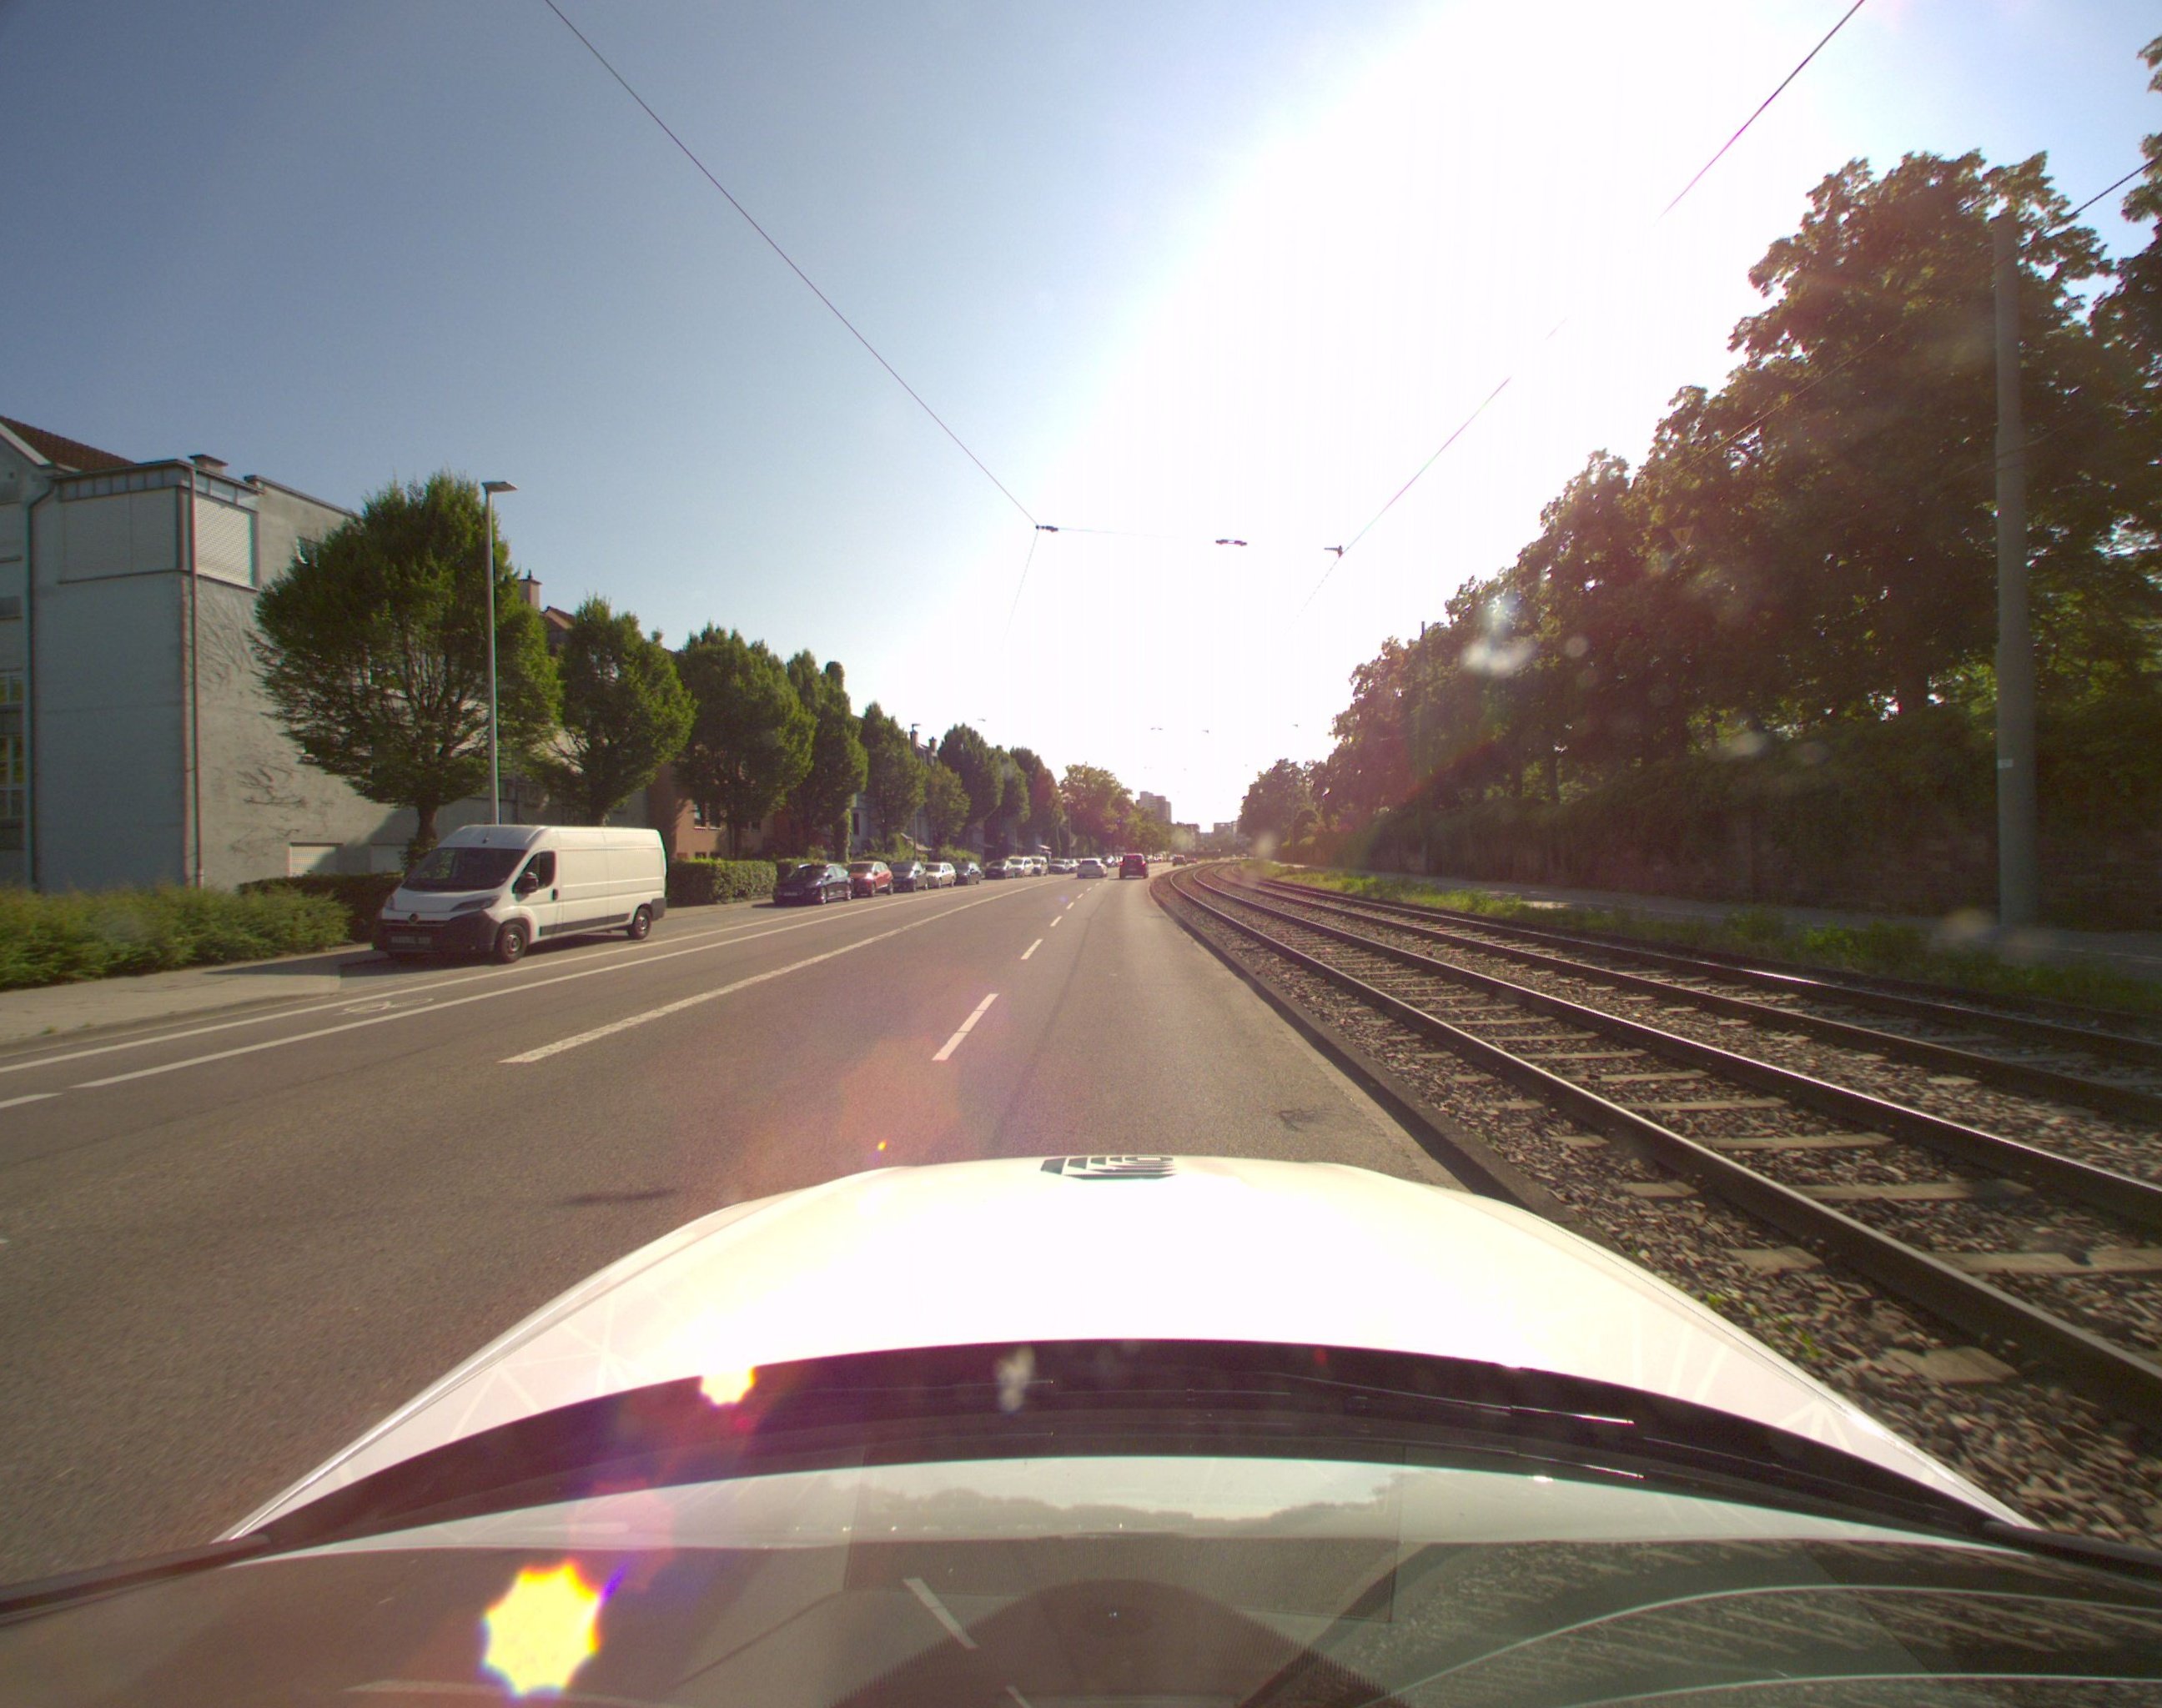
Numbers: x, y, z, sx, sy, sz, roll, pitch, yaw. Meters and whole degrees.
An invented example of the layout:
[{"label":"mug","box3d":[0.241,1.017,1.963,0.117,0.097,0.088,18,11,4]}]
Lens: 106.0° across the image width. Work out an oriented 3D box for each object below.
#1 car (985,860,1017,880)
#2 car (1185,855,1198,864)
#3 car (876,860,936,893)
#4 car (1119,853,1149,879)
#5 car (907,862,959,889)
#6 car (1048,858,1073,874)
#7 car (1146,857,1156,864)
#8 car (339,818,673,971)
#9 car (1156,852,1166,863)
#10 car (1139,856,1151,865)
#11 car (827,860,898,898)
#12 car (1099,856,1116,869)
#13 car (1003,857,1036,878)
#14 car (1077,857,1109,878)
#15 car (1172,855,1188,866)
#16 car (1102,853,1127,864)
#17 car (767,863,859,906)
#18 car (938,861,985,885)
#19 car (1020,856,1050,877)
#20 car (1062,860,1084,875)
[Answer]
[{"label":"car","box3d":[-6.358,1.245,64.950,1.606,1.466,4.068,0,0,9]},{"label":"car","box3d":[18.880,0.911,138.929,1.799,1.449,4.015,0,0,13]},{"label":"car","box3d":[-9.044,1.125,42.452,1.753,1.574,4.306,1,0,6]},{"label":"car","box3d":[3.558,0.784,54.339,1.802,1.645,4.007,-1,-1,6]},{"label":"car","box3d":[-8.623,1.249,47.822,1.704,1.471,4.852,1,-1,6]},{"label":"car","box3d":[-2.149,1.212,86.100,1.751,1.539,3.993,3,0,11]},{"label":"car","box3d":[15.284,1.384,177.267,1.720,1.389,3.748,-2,0,13]},{"label":"car","box3d":[-10.911,0.650,16.354,2.144,2.457,6.185,1,0,1]},{"label":"car","box3d":[19.123,0.840,194.793,1.851,2.347,5.002,-2,0,13]},{"label":"car","box3d":[12.982,1.276,165.473,1.720,1.658,4.014,-2,0,13]},{"label":"car","box3d":[-9.719,1.096,36.535,1.754,1.574,4.166,-1,-1,4]},{"label":"car","box3d":[3.889,1.198,117.539,1.701,1.694,4.436,-1,0,12]},{"label":"car","box3d":[-5.254,1.141,70.244,1.657,1.701,4.838,1,0,11]},{"label":"car","box3d":[0.880,0.921,57.293,1.855,1.348,4.007,-1,0,7]},{"label":"car","box3d":[13.574,0.890,111.843,1.799,1.449,4.014,0,0,12]},{"label":"car","box3d":[7.817,0.988,189.992,5.341,2.423,2.094,-2,-1,11]},{"label":"car","box3d":[-10.095,1.120,31.089,1.645,1.424,4.718,-1,0,4]},{"label":"car","box3d":[-7.784,1.222,53.566,1.700,1.472,4.921,1,0,9]},{"label":"car","box3d":[-4.271,1.114,76.410,1.752,1.845,4.592,3,0,9]},{"label":"car","box3d":[-0.864,1.505,91.225,1.739,1.510,4.767,3,0,8]}]
